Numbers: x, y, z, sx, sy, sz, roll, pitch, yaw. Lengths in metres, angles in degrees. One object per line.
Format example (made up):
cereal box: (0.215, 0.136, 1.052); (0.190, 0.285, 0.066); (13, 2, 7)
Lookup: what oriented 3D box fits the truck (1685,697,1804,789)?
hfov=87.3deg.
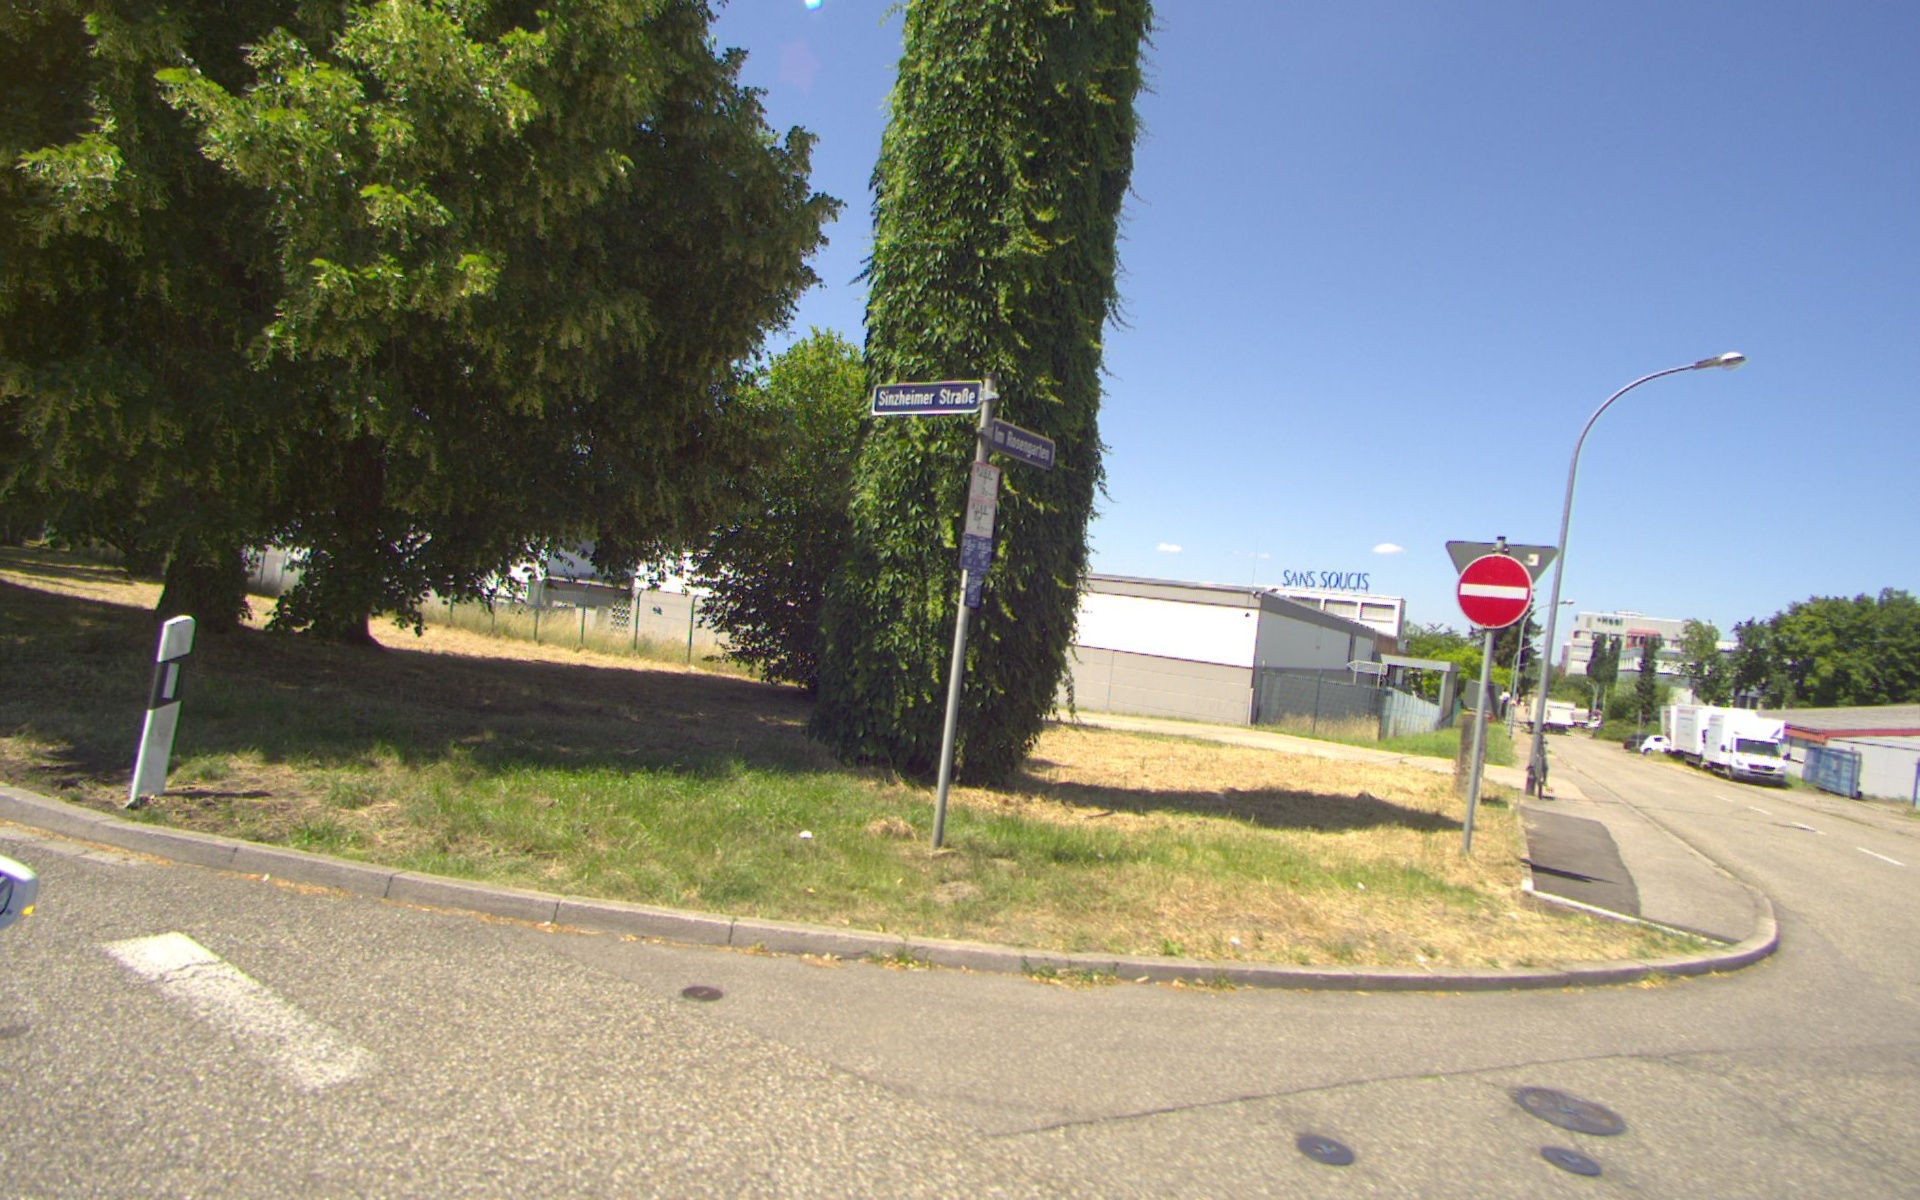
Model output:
truck: (38.922, 6.936, 50.275); (2.522, 3.763, 9.475); (7, -1, 27)

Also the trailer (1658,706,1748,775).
trailer: (43.065, 8.014, 58.551); (2.430, 3.355, 8.501); (6, -2, 26)

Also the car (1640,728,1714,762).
car: (50.165, 10.126, 70.486); (3.933, 1.706, 1.900); (6, -1, 31)

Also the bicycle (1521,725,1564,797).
bicycle: (10.176, 2.787, 17.552); (0.460, 1.110, 1.695); (6, -1, 33)

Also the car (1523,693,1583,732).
car: (62.332, 11.753, 105.884); (3.253, 3.344, 7.578); (7, -2, 16)
